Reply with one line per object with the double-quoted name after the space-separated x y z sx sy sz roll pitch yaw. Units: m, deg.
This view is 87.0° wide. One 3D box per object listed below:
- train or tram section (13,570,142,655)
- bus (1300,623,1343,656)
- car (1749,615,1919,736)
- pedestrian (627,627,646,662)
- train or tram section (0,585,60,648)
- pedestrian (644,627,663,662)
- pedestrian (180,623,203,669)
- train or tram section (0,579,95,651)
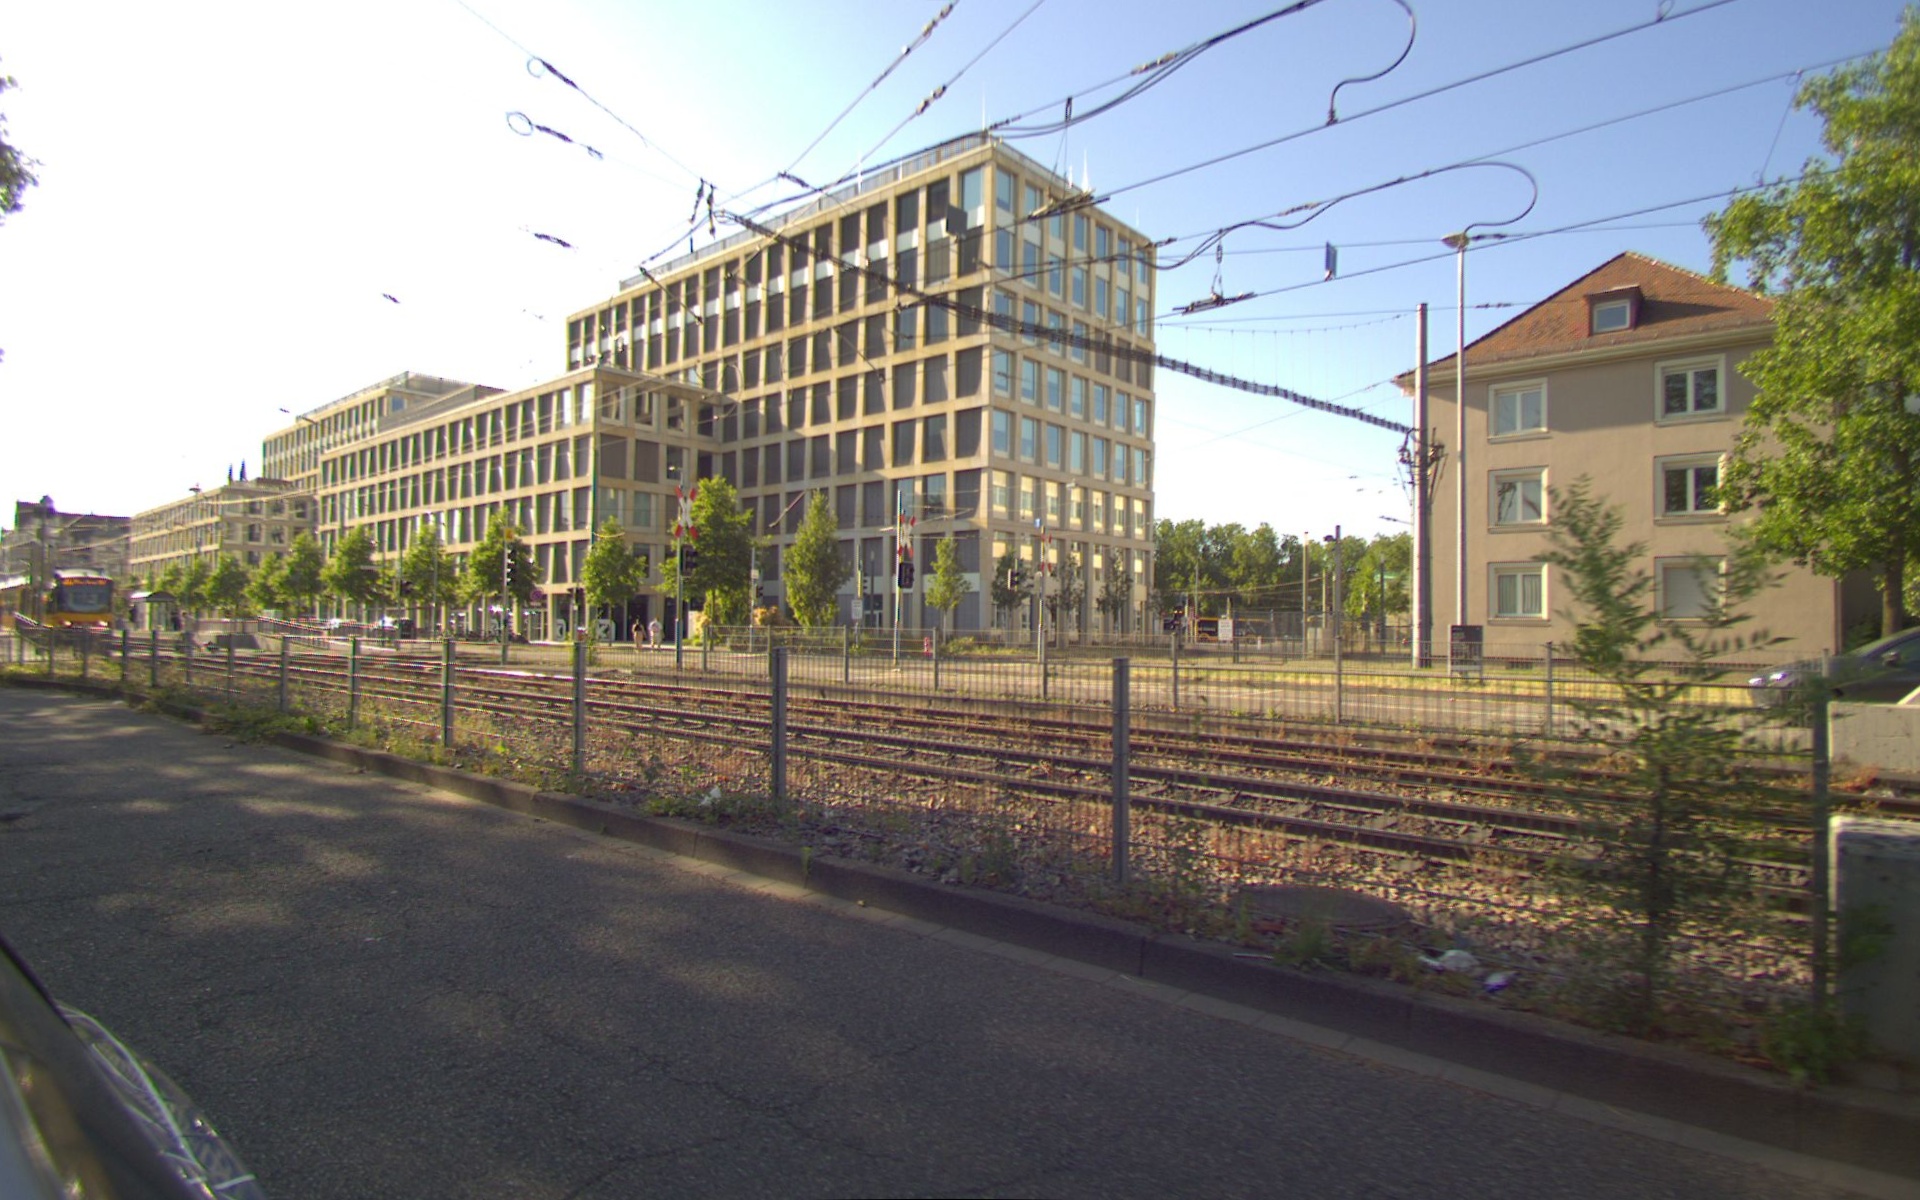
-44.647 0.714 51.002 11.838 3.859 3.274 -2 -3 41 "train or tram section"
36.149 3.903 101.048 1.908 3.164 7.605 -1 -1 37 "bus"
13.113 0.977 13.500 3.998 1.559 1.721 -1 -2 41 "car"
-16.170 2.219 50.583 0.670 1.730 0.657 -2 -3 39 "pedestrian"
-63.563 1.199 67.661 14.212 3.859 3.274 -2 -3 41 "train or tram section"
-15.519 2.258 51.249 0.670 1.730 0.657 -2 -3 39 "pedestrian"
-29.332 1.743 38.624 0.660 1.730 0.726 2 -3 -37 "pedestrian"
-53.645 0.949 58.931 11.838 3.859 3.274 -2 -3 41 "train or tram section"
